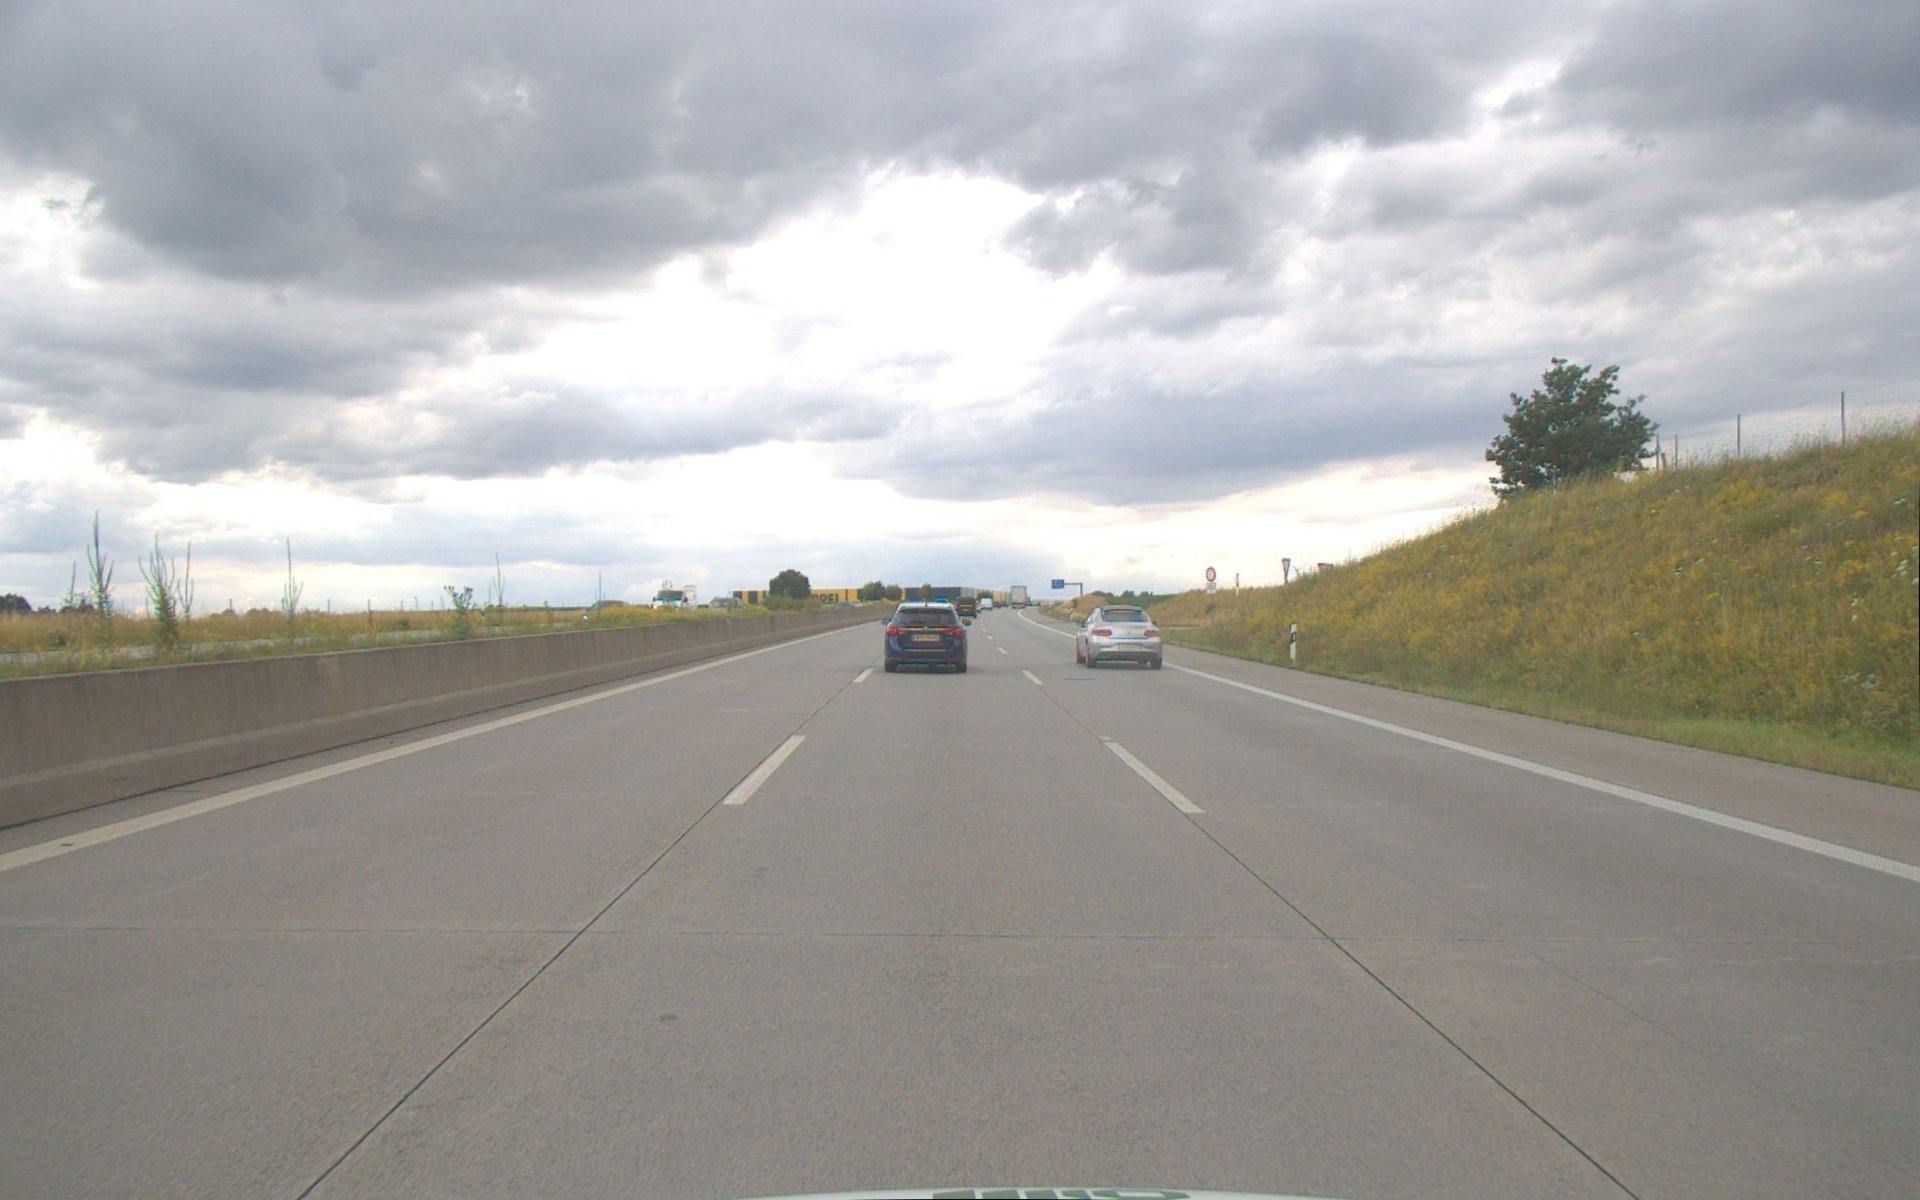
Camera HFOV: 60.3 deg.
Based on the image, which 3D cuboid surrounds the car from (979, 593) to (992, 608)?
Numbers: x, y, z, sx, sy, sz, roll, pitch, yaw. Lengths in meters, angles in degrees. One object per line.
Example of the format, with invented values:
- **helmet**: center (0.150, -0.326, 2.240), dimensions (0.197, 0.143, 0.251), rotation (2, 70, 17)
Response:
- **car**: center (3.805, 0.057, 245.830), dimensions (1.952, 2.049, 4.000), rotation (1, -1, 1)

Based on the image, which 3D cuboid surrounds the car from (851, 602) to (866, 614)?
- **car**: center (-13.902, 1.106, 226.866), dimensions (1.741, 1.533, 4.517), rotation (1, -1, 1)

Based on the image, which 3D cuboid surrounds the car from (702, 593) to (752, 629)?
- **car**: center (-12.191, 0.546, 86.970), dimensions (1.953, 1.813, 4.930), rotation (0, 0, 0)

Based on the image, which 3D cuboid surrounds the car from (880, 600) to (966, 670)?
- **car**: center (-0.796, 0.729, 35.917), dimensions (1.738, 1.438, 3.999), rotation (0, 0, -1)

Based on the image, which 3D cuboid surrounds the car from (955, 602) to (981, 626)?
- **car**: center (0.653, 1.255, 144.031), dimensions (1.954, 2.049, 3.997), rotation (1, -1, -4)

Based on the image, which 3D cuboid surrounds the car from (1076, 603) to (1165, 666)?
- **car**: center (3.782, 0.798, 39.543), dimensions (1.752, 1.428, 4.221), rotation (0, 0, 0)

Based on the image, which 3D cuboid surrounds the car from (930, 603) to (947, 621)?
- **car**: center (-2.469, 1.398, 191.416), dimensions (2.004, 2.049, 3.999), rotation (1, -1, -1)

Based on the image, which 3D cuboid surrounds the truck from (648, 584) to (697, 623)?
- **truck**: center (-19.873, 0.304, 114.582), dimensions (2.100, 2.611, 7.447), rotation (1, -1, 0)

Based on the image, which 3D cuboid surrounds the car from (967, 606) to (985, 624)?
- **car**: center (1.943, 1.828, 197.857), dimensions (1.952, 2.049, 4.001), rotation (1, 0, 2)
